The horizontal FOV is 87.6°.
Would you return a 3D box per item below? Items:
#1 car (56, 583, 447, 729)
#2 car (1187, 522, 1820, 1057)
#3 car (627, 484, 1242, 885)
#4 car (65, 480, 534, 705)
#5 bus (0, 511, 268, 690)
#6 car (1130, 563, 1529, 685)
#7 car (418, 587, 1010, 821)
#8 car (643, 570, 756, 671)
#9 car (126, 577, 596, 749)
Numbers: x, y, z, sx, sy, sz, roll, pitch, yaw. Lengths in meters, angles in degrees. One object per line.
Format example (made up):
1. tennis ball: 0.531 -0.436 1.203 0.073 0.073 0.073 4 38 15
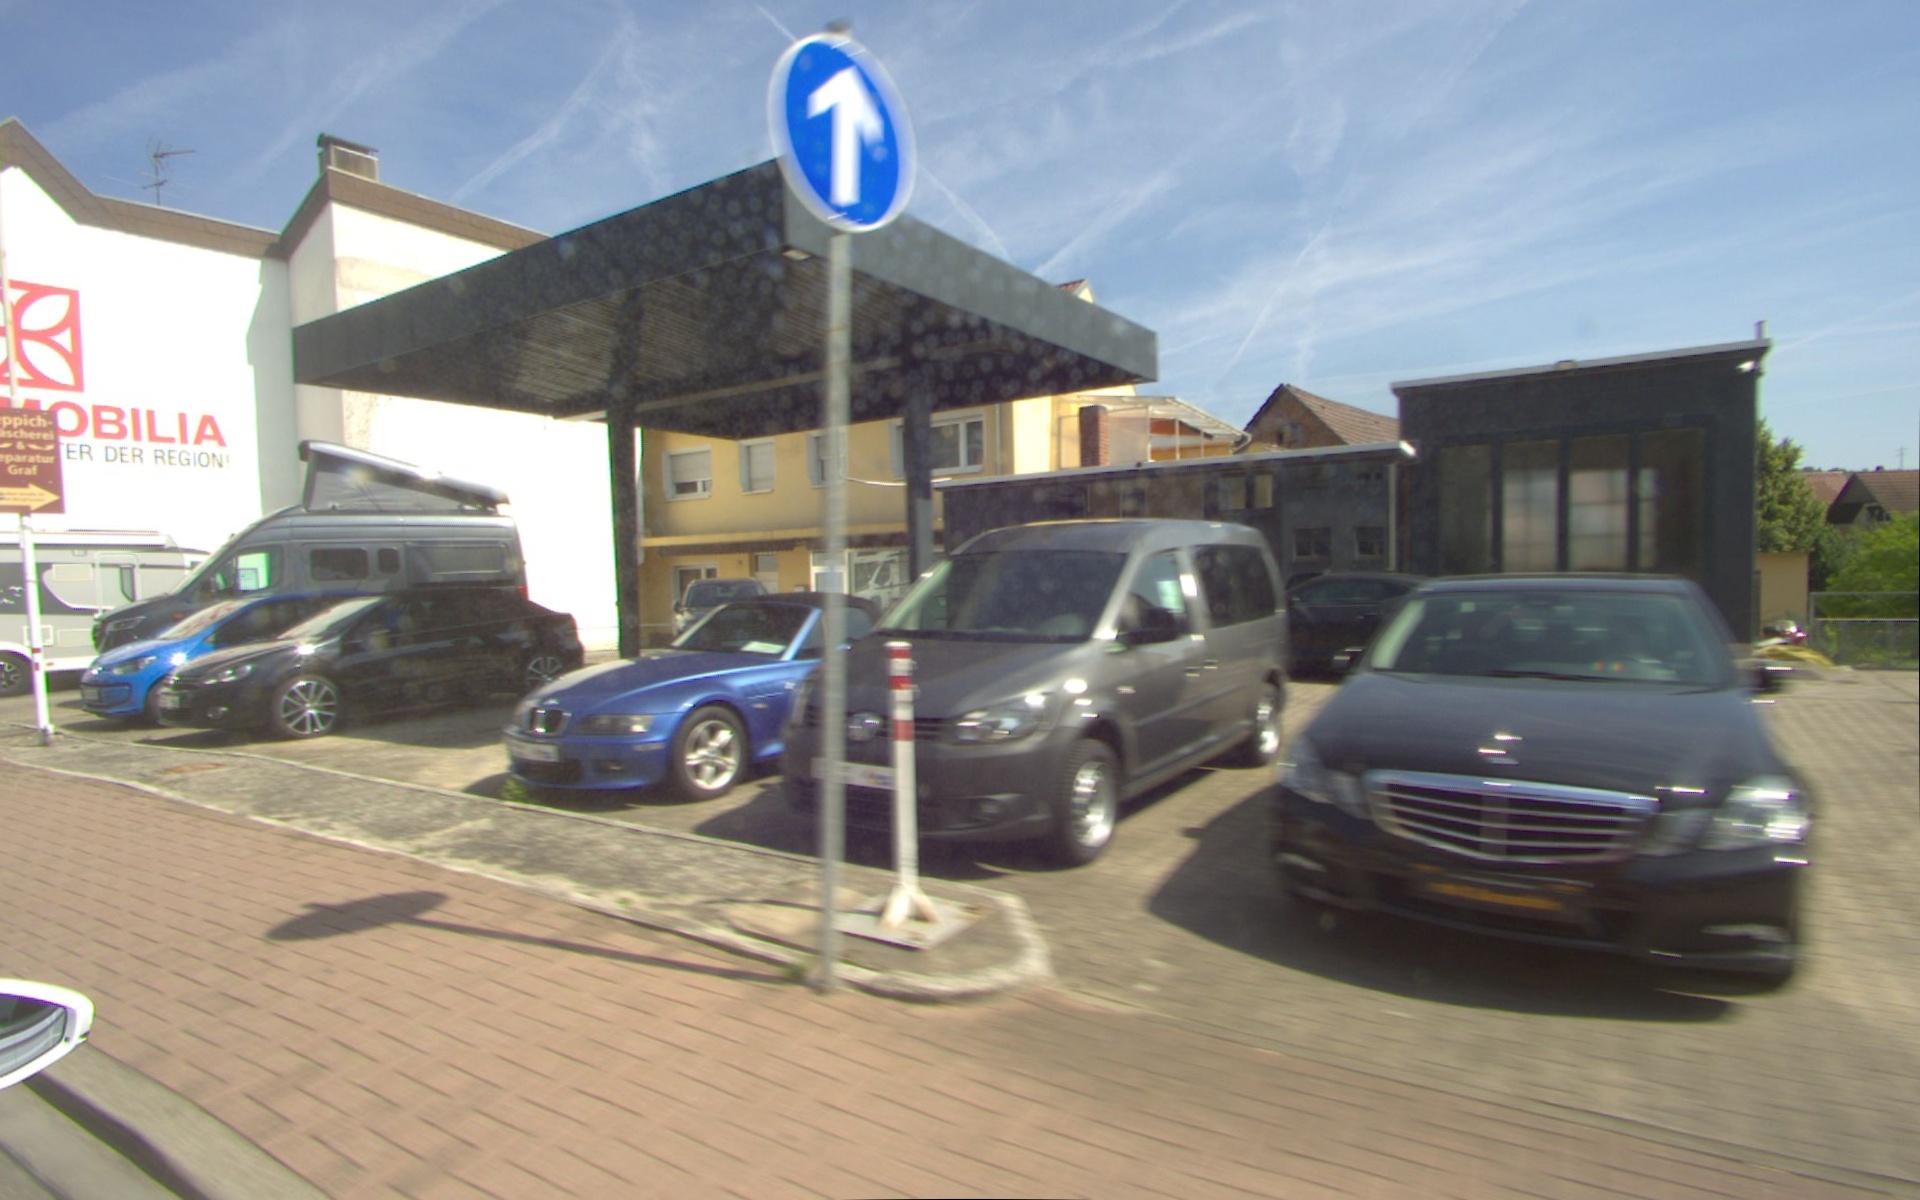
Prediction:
1. car: -8.939 0.592 12.982 1.559 1.549 3.792 0 2 30
2. car: 2.986 0.517 5.276 1.885 1.518 4.620 0 1 35
3. car: 0.238 0.343 7.033 1.939 1.834 4.620 0 1 35
4. car: -10.374 -0.186 16.234 5.908 3.027 2.298 -2 2 -39
5. bus: -16.424 0.007 17.585 2.200 2.945 6.542 -1 2 35
6. car: 4.757 0.274 13.132 4.677 1.365 1.755 -1 1 30
7. car: -1.623 0.583 8.172 1.939 1.284 4.523 0 1 35
8. car: -4.602 0.307 17.400 1.697 1.545 3.862 0 0 -17
9. car: -6.395 0.534 11.172 1.704 1.501 4.146 0 2 35
